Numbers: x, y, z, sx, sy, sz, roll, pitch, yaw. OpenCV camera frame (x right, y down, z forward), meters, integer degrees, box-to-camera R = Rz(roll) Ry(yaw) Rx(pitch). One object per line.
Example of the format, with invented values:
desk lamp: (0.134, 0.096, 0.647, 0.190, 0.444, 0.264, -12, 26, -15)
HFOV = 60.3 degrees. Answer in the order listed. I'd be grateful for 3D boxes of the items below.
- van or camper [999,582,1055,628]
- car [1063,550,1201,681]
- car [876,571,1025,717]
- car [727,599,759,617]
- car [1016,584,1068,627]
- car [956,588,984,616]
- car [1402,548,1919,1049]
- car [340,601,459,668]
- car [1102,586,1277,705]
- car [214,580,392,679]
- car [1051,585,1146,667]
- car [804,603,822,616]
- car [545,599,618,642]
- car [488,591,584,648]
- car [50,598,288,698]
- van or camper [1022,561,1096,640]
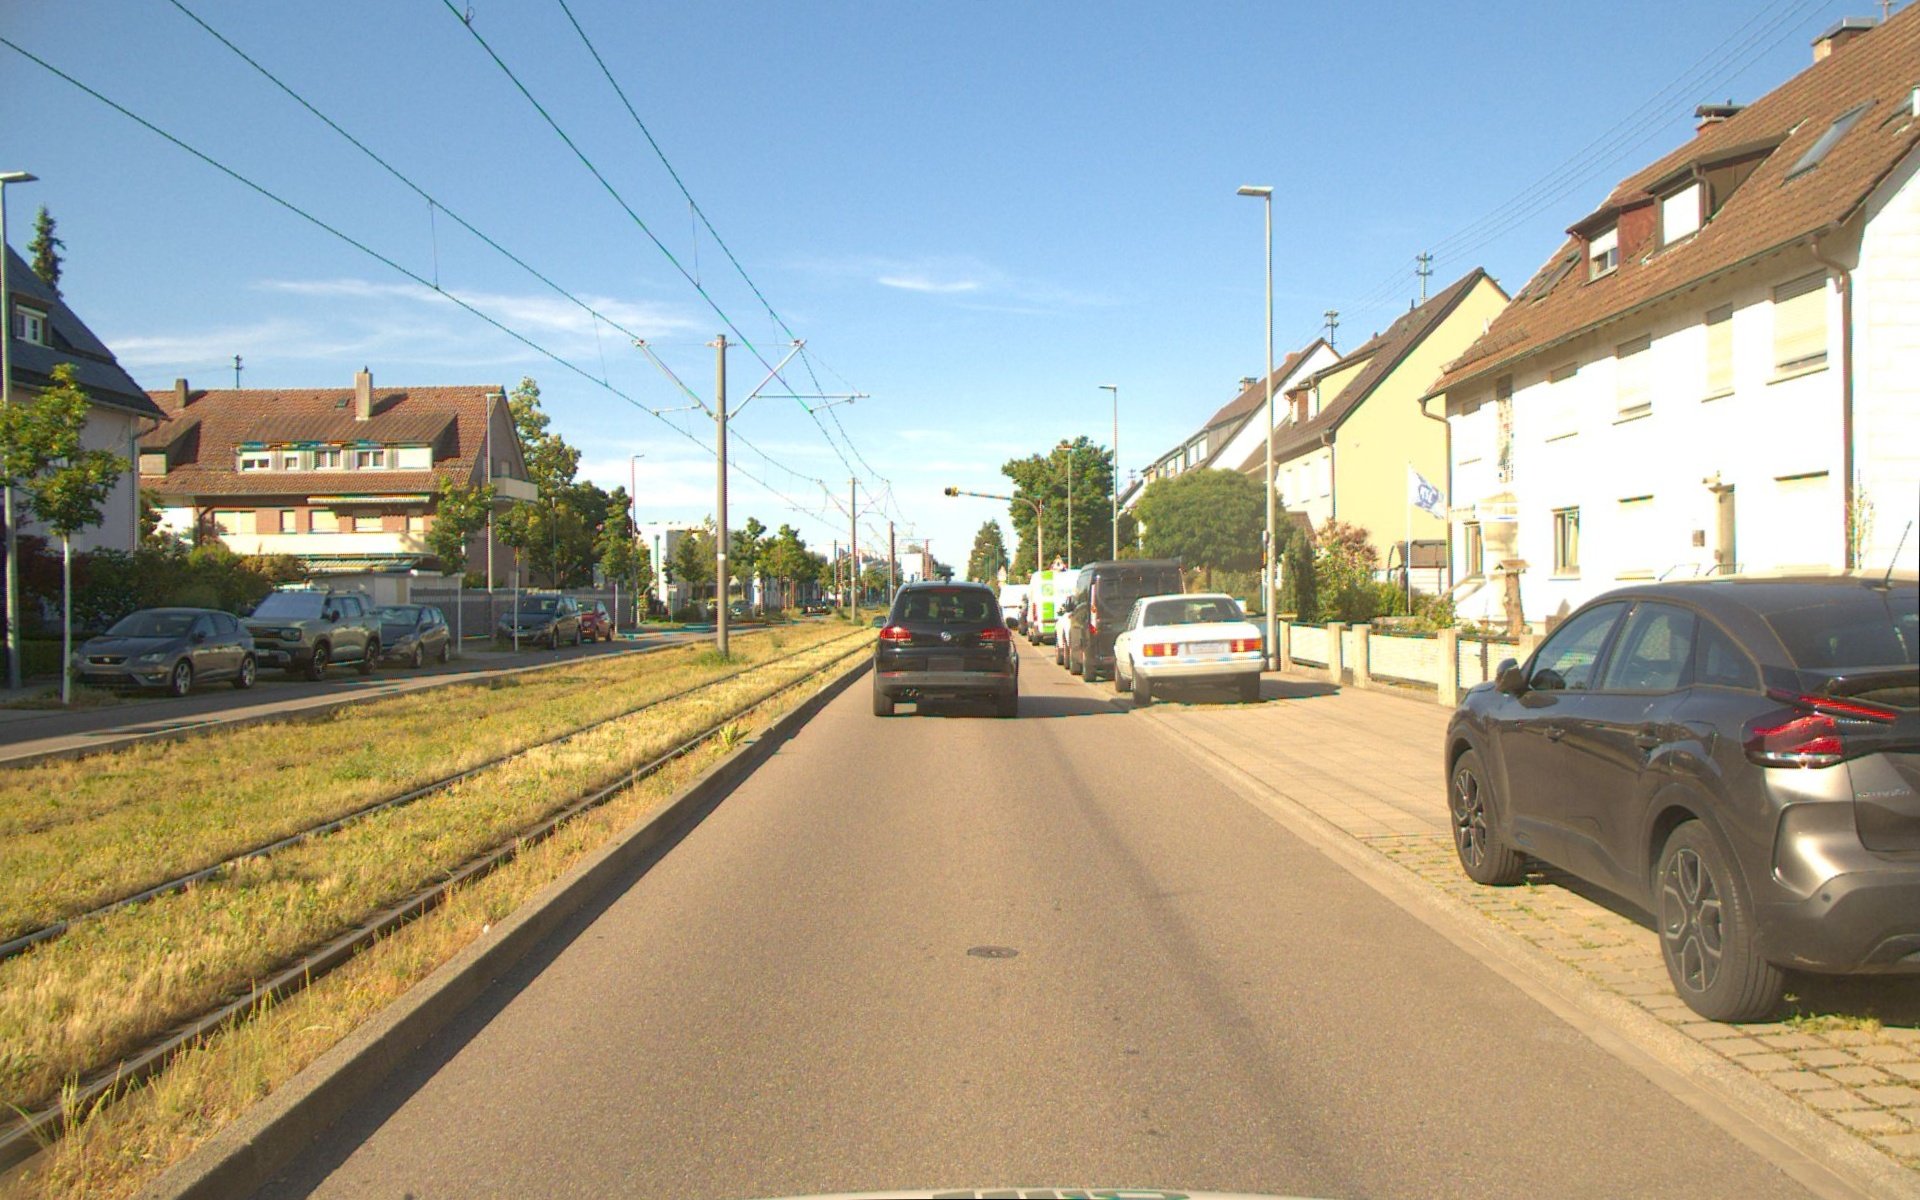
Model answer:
van or camper: (3.061, 0.204, 74.232, 1.985, 1.990, 5.299, -1, 0, 8)
car: (3.097, 0.266, 30.848, 1.920, 2.181, 5.335, -1, 0, 0)
car: (-0.182, 0.534, 21.630, 1.740, 1.699, 3.998, 1, 0, -2)
car: (-18.291, 0.686, 139.468, 1.772, 1.486, 4.319, 1, 0, 4)
car: (3.108, 0.223, 63.816, 1.713, 1.520, 5.155, -2, 0, 0)
car: (0.686, 0.135, 113.532, 1.596, 1.860, 4.127, -1, 0, -4)
car: (3.477, 0.584, 7.419, 1.741, 1.525, 4.728, -1, 0, 0)
car: (-13.630, 0.792, 40.437, 1.642, 1.517, 4.048, 1, 0, -2)
car: (3.222, 0.581, 24.278, 1.814, 1.469, 5.614, -2, 0, 1)
car: (-13.492, 0.571, 34.269, 1.709, 1.855, 4.841, 1, 0, 0)
car: (3.013, 0.551, 36.693, 1.690, 1.674, 4.318, -1, 0, 0)
car: (-17.965, 1.163, 202.895, 1.653, 1.413, 4.388, -2, 0, 1)
car: (-13.579, 0.711, 59.526, 1.660, 1.429, 4.079, -1, 0, 0)
car: (-13.648, 0.608, 53.530, 1.782, 1.714, 4.846, 1, 0, 0)
car: (-13.539, 0.778, 28.641, 1.920, 1.567, 4.556, 1, 0, 0)
van or camper: (3.131, 0.028, 53.422, 1.953, 2.310, 6.304, -2, 0, 0)
